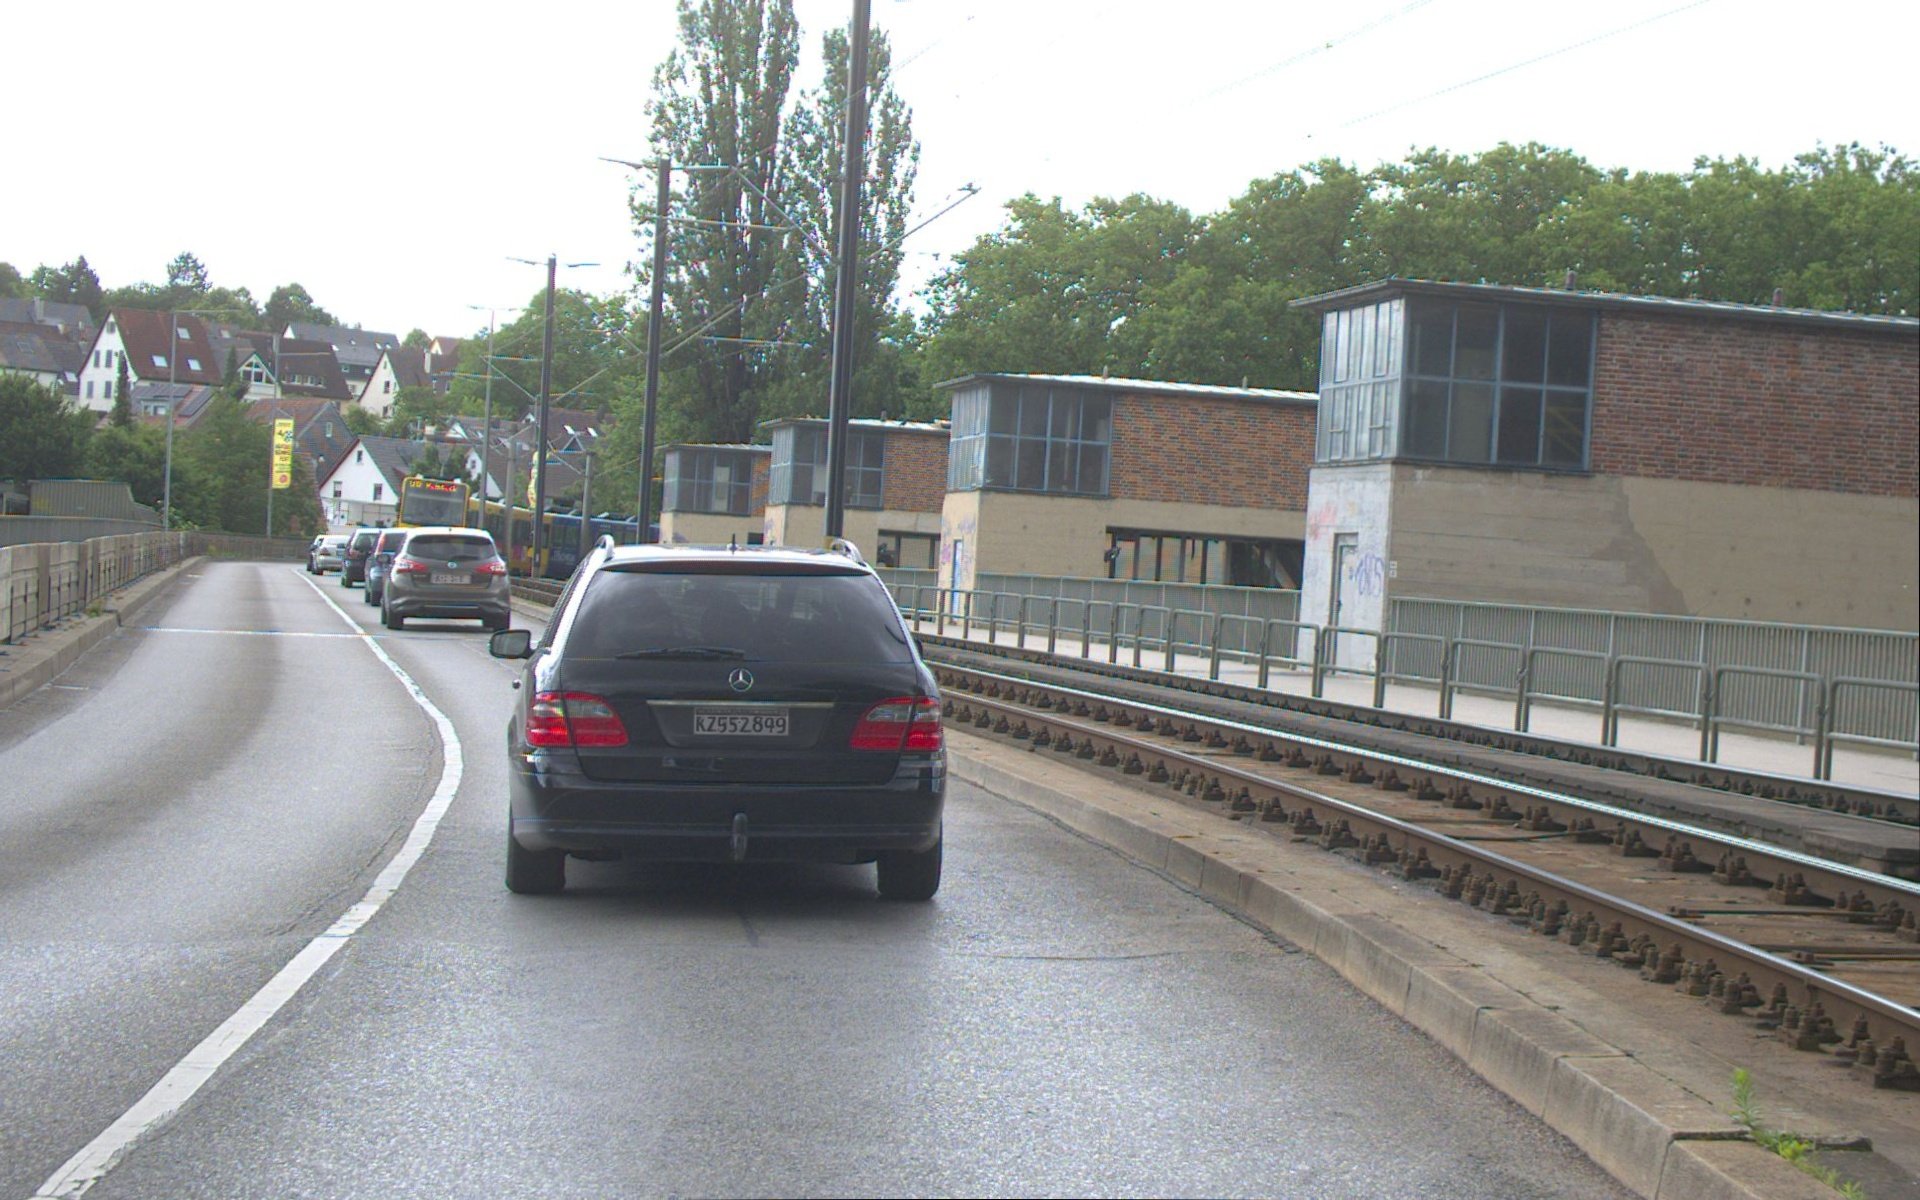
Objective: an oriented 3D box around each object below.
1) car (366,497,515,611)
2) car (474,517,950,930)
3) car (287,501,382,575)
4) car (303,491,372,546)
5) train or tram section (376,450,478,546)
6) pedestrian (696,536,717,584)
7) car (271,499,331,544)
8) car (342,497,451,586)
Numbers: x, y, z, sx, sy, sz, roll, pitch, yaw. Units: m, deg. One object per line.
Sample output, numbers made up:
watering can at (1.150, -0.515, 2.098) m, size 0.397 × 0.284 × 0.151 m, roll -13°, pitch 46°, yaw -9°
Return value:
car at (-7.818, -0.722, 51.471) m, size 1.770 × 1.550 × 4.242 m, roll 3°, pitch 1°, yaw -14°
car at (-1.099, 0.423, 15.400) m, size 1.758 × 1.510 × 4.443 m, roll 2°, pitch 1°, yaw -4°
car at (-15.378, -1.537, 84.343) m, size 1.993 × 1.667 × 4.542 m, roll 1°, pitch 2°, yaw -14°
car at (-19.950, -2.627, 109.972) m, size 1.993 × 1.565 × 4.907 m, roll 4°, pitch 1°, yaw -11°
train or tram section at (-21.428, -4.014, 137.308) m, size 2.881 × 3.497 × 18.673 m, roll 2°, pitch 1°, yaw -12°
pedestrian at (-8.643, -1.358, 117.347) m, size 0.577 × 1.604 × 0.613 m, roll 3°, pitch 0°, yaw -11°
car at (-26.045, -3.115, 135.832) m, size 1.993 × 1.565 × 4.907 m, roll 4°, pitch 1°, yaw -14°
car at (-10.903, -1.164, 66.574) m, size 1.993 × 1.559 × 4.999 m, roll 1°, pitch 2°, yaw -9°
